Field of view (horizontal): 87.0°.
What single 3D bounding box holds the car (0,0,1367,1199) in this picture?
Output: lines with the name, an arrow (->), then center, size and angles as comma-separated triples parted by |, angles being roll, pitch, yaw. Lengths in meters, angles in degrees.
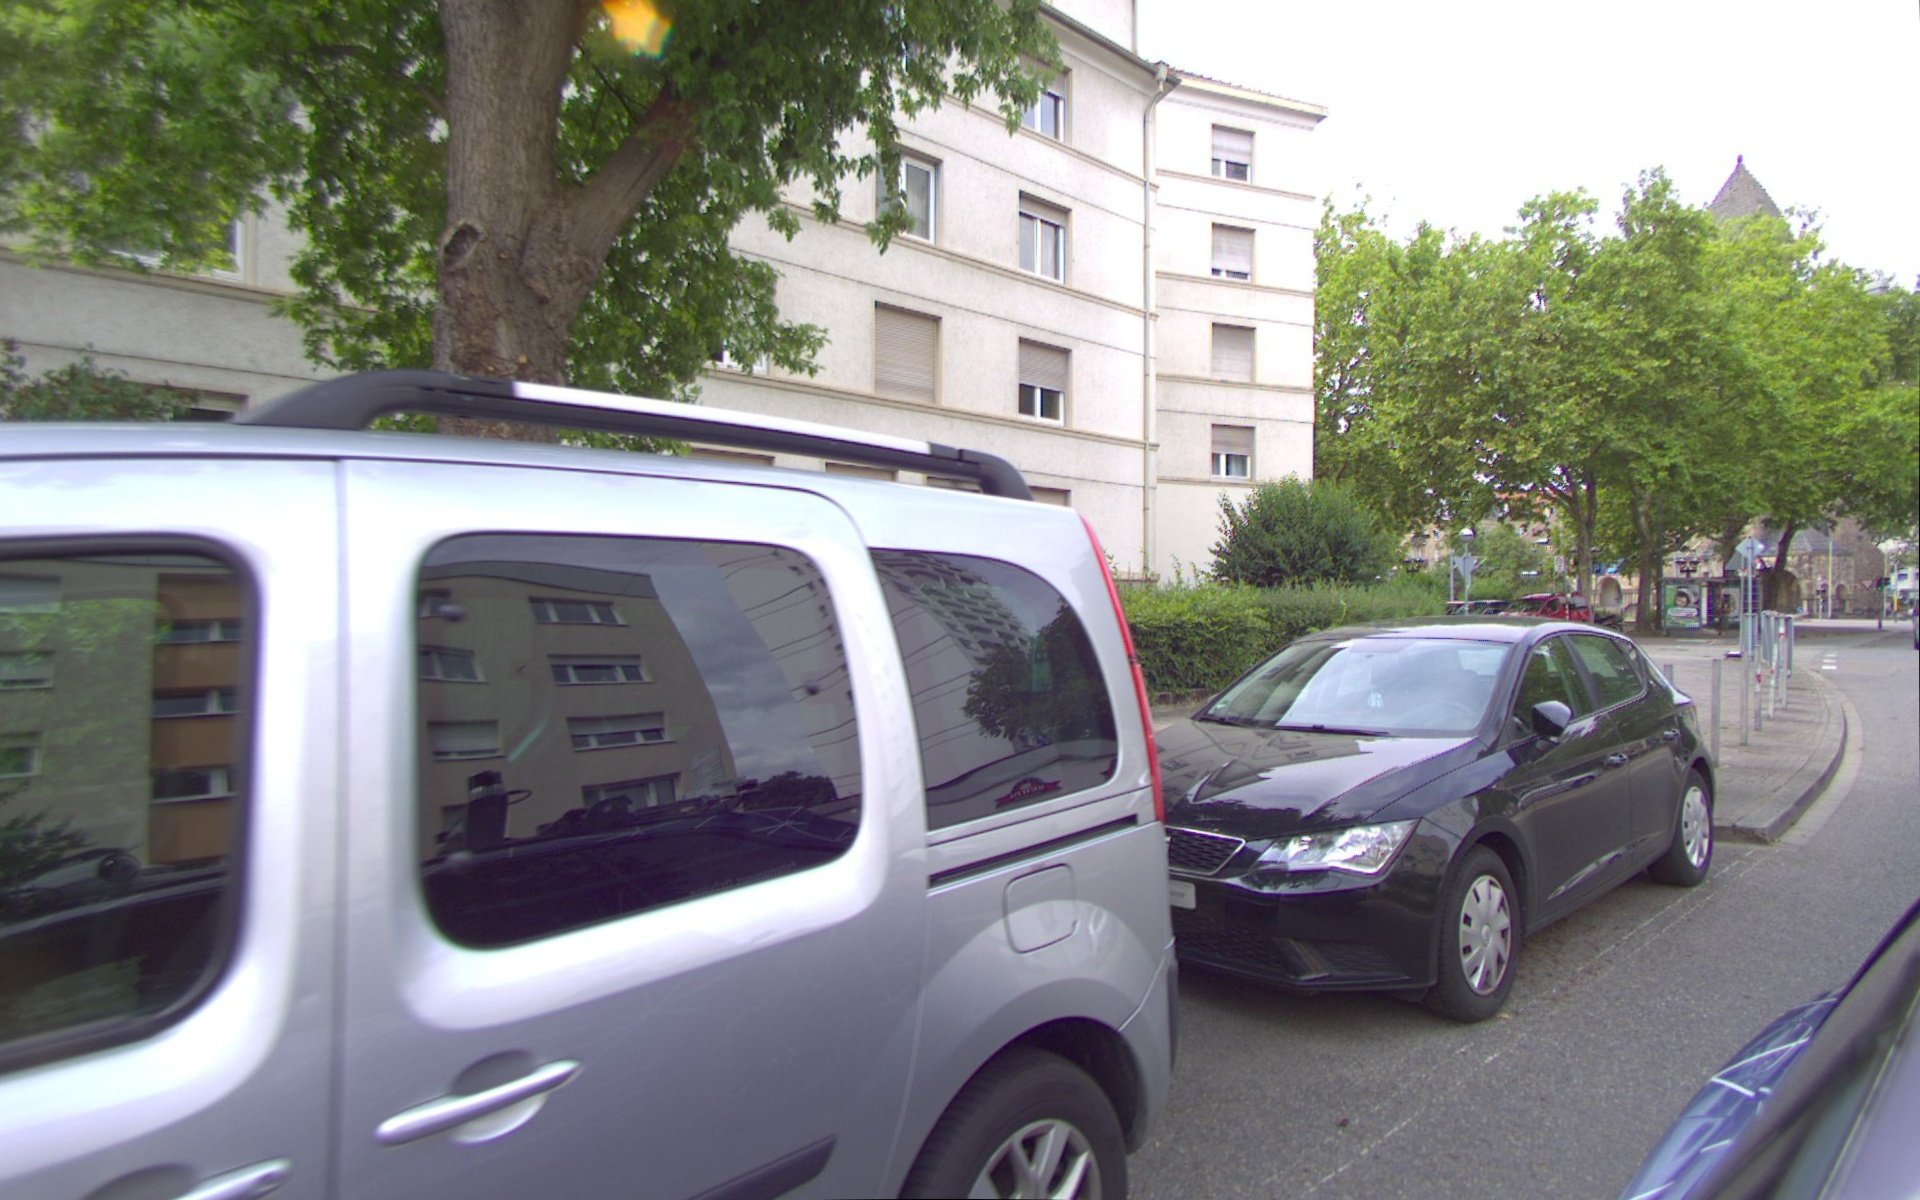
car -> -1.551, 0.341, 1.529 | 4.758, 1.889, 1.921 | 0, -2, -39

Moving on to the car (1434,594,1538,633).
car -> 21.886, 0.550, 42.111 | 3.917, 1.572, 1.836 | 0, 0, -24

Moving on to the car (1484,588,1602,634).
car -> 22.919, 0.421, 39.778 | 4.241, 1.727, 1.942 | 0, 0, -25

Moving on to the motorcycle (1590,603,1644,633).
motorcycle -> 27.667, 0.738, 42.660 | 1.853, 1.238, 0.522 | 0, -2, 44

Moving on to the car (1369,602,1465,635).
car -> 21.257, 0.849, 47.075 | 3.917, 1.482, 2.003 | 0, 0, -24

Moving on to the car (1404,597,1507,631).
car -> 21.945, 0.611, 44.798 | 4.096, 1.482, 1.755 | 0, 0, -20

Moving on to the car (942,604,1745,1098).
car -> 2.139, 0.774, 5.086 | 4.162, 1.463, 1.921 | 0, -2, -39
